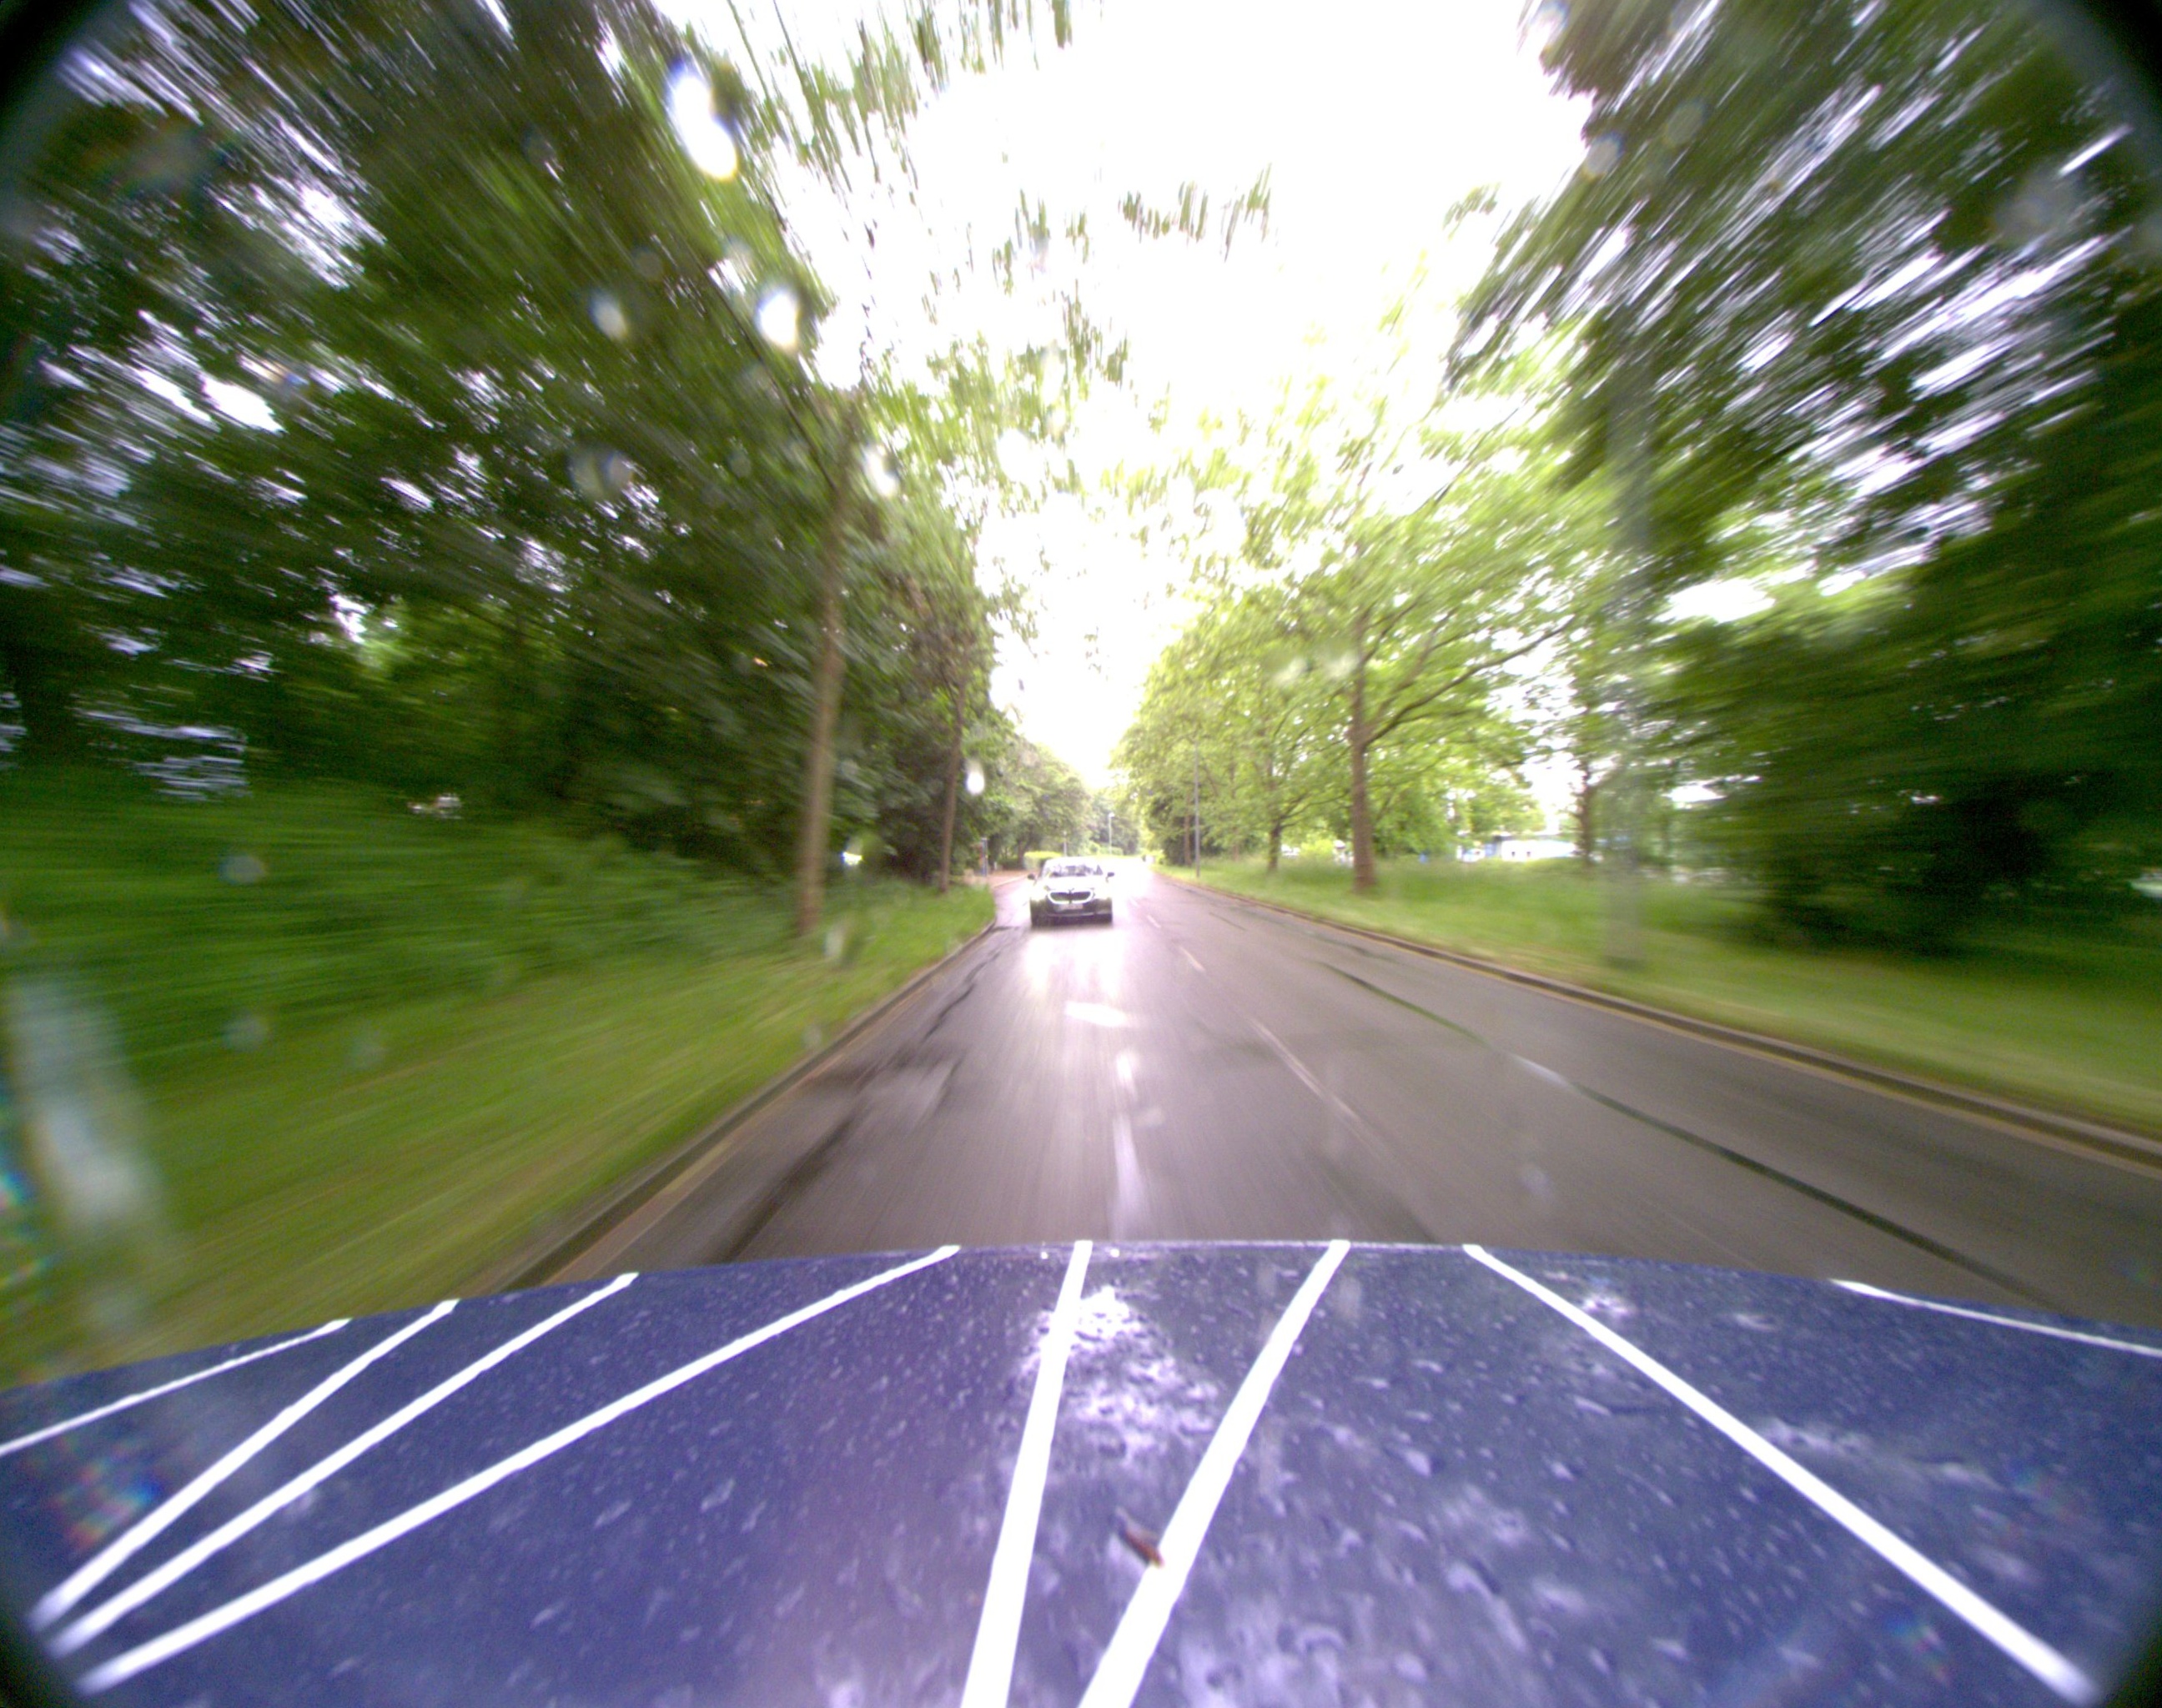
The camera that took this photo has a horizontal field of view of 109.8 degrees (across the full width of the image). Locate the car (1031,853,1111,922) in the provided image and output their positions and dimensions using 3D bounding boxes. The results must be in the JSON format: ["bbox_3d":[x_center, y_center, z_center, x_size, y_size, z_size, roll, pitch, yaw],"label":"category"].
[{"bbox_3d":[-0.164,0.800,20.235,1.832,1.499,4.498,-3,1,2],"label":"car"}]
